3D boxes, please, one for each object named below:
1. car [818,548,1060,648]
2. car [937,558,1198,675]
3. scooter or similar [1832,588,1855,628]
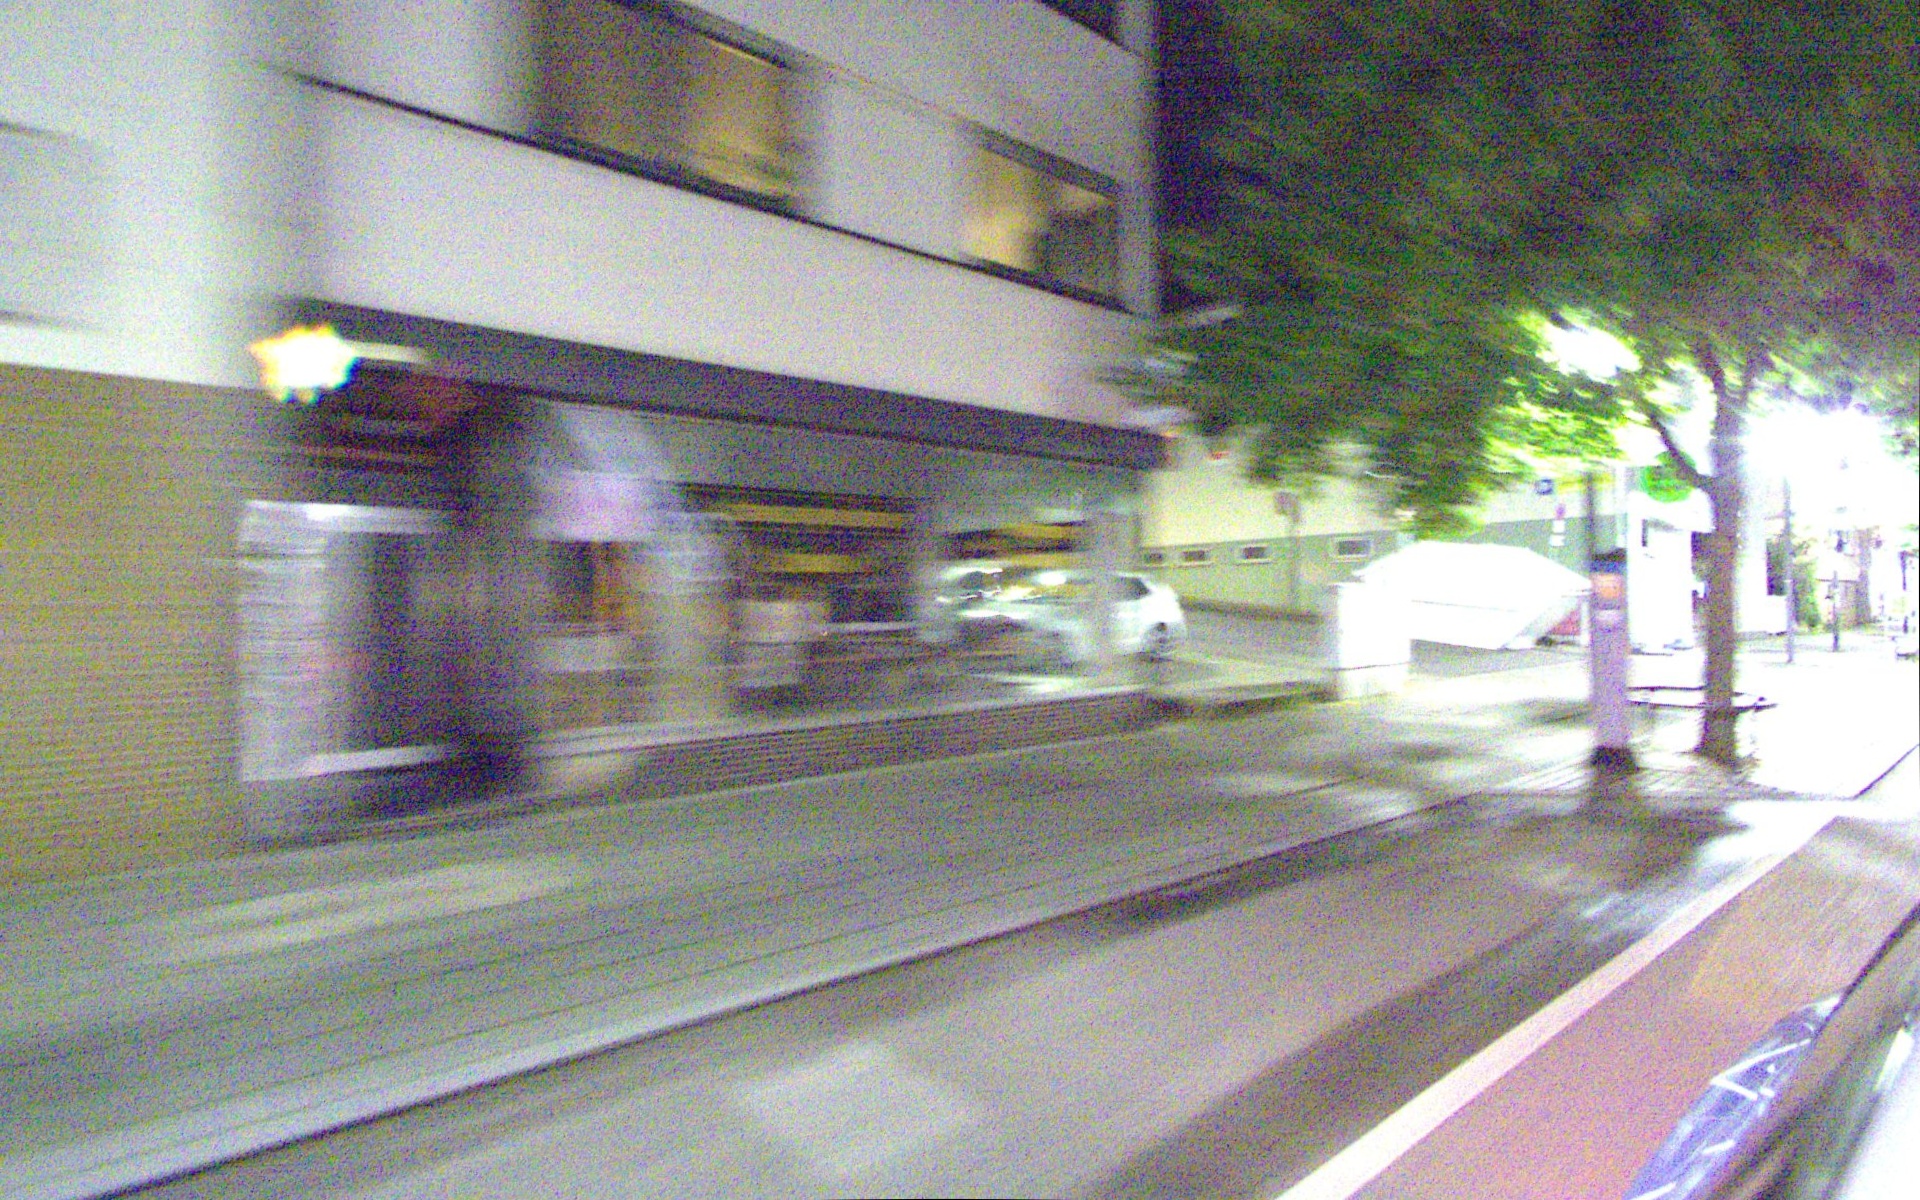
[{"bbox_3d":[-0.297,-0.139,17.621,3.988,1.477,1.808,-3,6,-42],"label":"car"},{"bbox_3d":[1.747,0.146,15.694,3.988,1.477,1.808,-3,6,-42],"label":"car"},{"bbox_3d":[29.437,0.250,33.706,1.282,1.292,0.374,-2,1,-40],"label":"scooter or similar"}]
